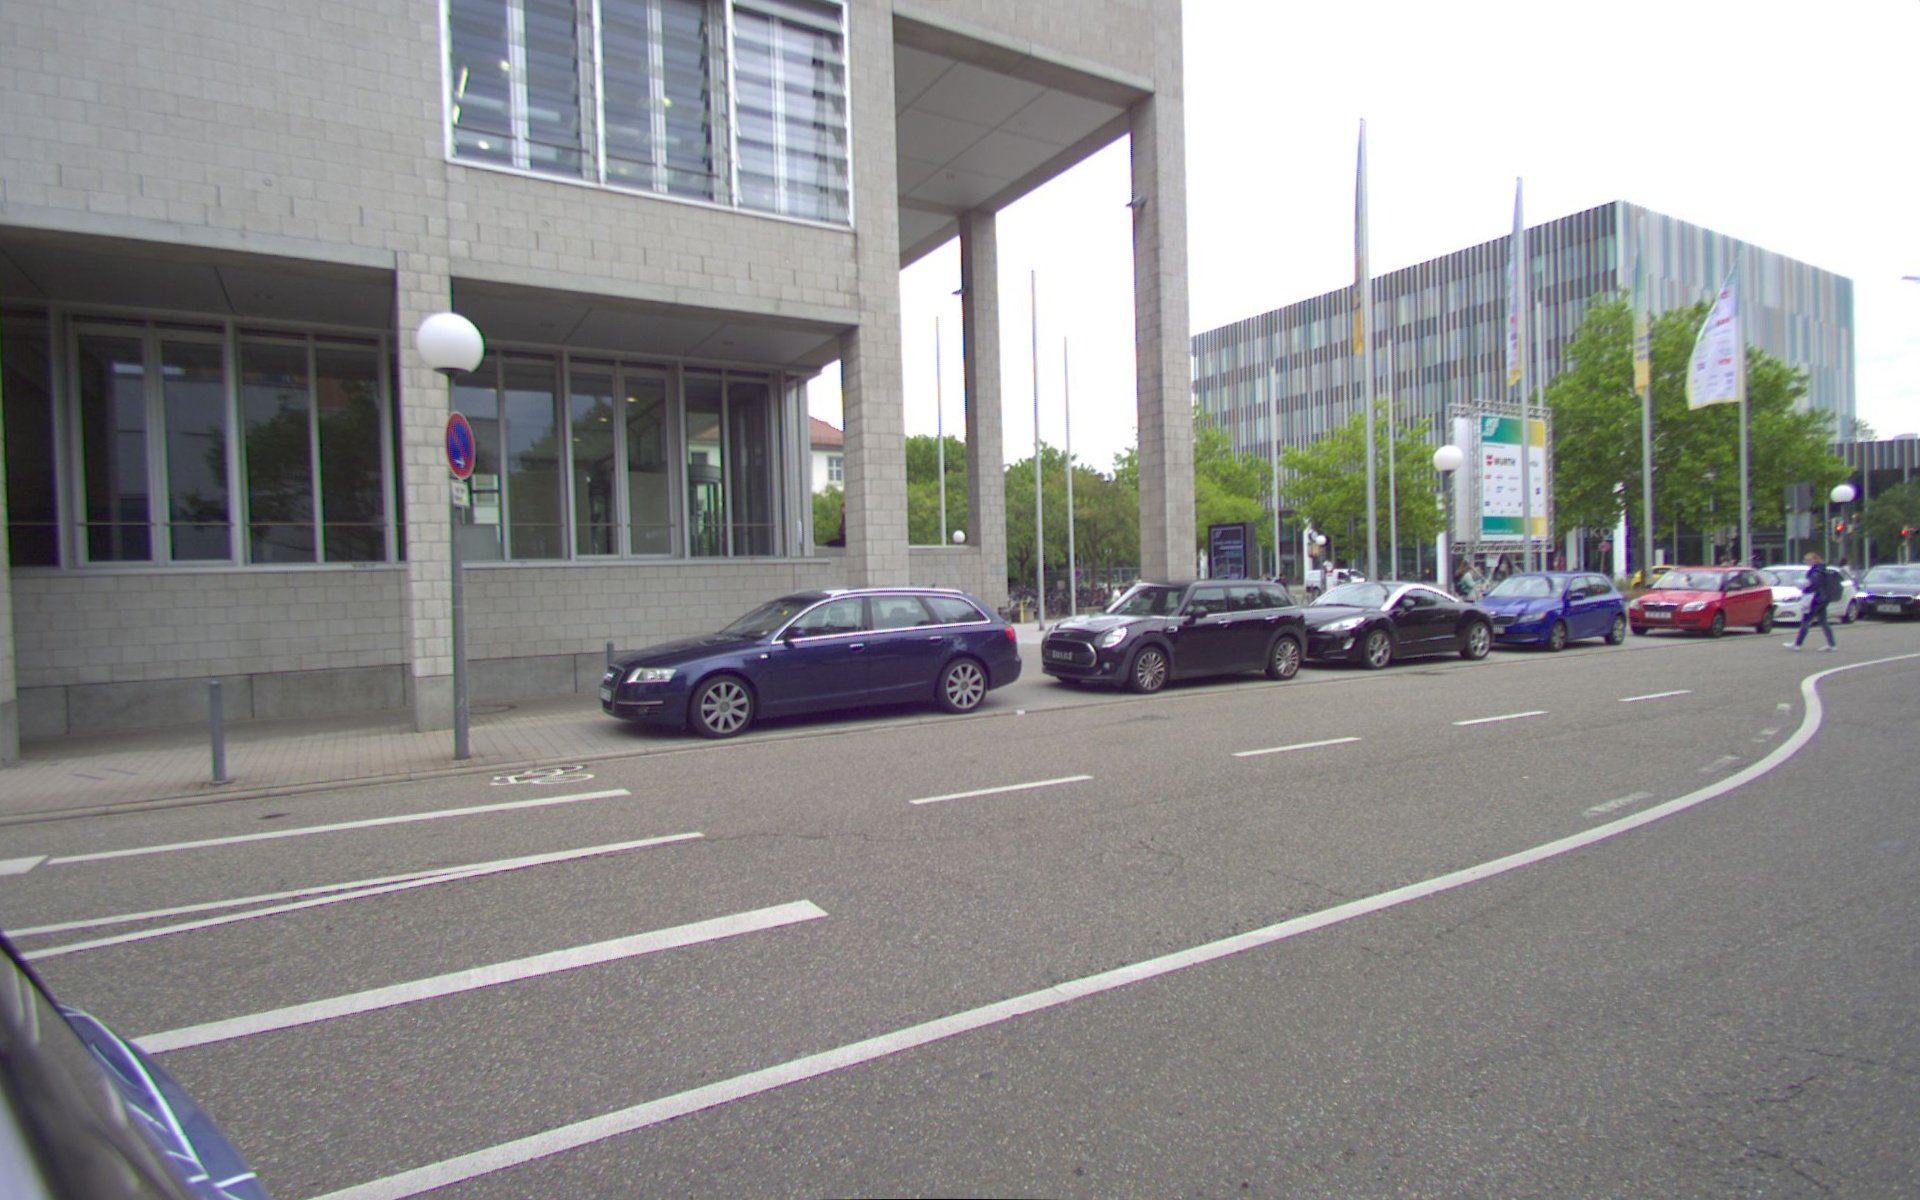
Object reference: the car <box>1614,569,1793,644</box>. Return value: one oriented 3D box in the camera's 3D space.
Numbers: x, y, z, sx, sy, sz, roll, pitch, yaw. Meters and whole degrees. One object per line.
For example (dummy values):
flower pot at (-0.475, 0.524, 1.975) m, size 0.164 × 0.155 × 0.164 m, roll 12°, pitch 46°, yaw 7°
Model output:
car at (16.476, 0.081, 22.372) m, size 4.201 × 1.484 × 1.723 m, roll -1°, pitch 2°, yaw -31°

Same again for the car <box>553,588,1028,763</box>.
car at (-1.812, 0.692, 11.389) m, size 4.839 × 1.463 × 2.006 m, roll -2°, pitch 0°, yaw -31°

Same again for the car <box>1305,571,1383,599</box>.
car at (26.811, -1.036, 70.843) m, size 1.966 × 1.675 × 4.853 m, roll -2°, pitch -1°, yaw -33°

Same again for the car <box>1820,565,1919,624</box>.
car at (25.070, -0.194, 27.331) m, size 1.858 × 1.412 × 4.437 m, roll -1°, pitch 2°, yaw 28°

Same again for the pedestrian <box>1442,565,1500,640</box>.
pedestrian at (11.635, 0.056, 23.044) m, size 0.915 × 1.653 × 0.739 m, roll -2°, pitch 0°, yaw -28°

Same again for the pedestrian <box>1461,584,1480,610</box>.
pedestrian at (40.751, -0.252, 80.799) m, size 0.840 × 2.029 × 1.004 m, roll 0°, pitch -2°, yaw -23°

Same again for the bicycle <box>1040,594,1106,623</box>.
bicycle at (5.057, 0.373, 45.132) m, size 3.055 × 1.179 × 0.750 m, roll -2°, pitch 0°, yaw -30°

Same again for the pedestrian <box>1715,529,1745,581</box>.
pedestrian at (26.637, -1.543, 35.022) m, size 0.654 × 1.728 × 0.580 m, roll -2°, pitch -1°, yaw 26°

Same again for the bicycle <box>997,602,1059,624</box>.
bicycle at (3.803, 0.712, 56.521) m, size 3.335 × 1.179 × 1.059 m, roll 1°, pitch -2°, yaw -25°

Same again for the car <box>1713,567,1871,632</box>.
car at (20.733, -0.034, 25.209) m, size 3.793 × 1.464 × 1.872 m, roll -2°, pitch 0°, yaw -31°

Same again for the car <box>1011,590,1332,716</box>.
car at (3.074, 0.630, 14.399) m, size 4.444 × 1.454 × 1.829 m, roll -2°, pitch 1°, yaw -32°

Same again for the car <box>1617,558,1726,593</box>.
car at (37.192, -1.263, 53.003) m, size 1.966 × 1.630 × 4.207 m, roll -2°, pitch 0°, yaw -30°

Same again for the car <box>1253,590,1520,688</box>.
car at (7.167, 0.599, 16.924) m, size 4.343 × 1.453 × 1.860 m, roll 0°, pitch -1°, yaw -30°

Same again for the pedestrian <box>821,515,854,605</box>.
pedestrian at (-2.353, -0.751, 19.472) m, size 0.621 × 1.671 × 0.808 m, roll 0°, pitch -2°, yaw -6°

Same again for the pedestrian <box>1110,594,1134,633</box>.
pedestrian at (6.074, 0.511, 37.925) m, size 0.670 × 1.424 × 0.762 m, roll -2°, pitch 0°, yaw 27°

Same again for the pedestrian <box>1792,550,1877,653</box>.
pedestrian at (14.668, 0.021, 16.978) m, size 0.951 × 1.674 × 0.743 m, roll -1°, pitch 0°, yaw -26°

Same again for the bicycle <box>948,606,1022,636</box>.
bicycle at (1.016, 0.835, 40.728) m, size 3.054 × 1.179 × 0.624 m, roll 1°, pitch -3°, yaw -29°

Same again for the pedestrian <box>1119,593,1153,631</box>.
pedestrian at (6.733, 0.455, 38.689) m, size 0.954 × 1.431 × 0.853 m, roll -2°, pitch 0°, yaw -42°

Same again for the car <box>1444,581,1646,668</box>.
car at (11.436, 0.414, 19.700) m, size 4.304 × 1.422 × 1.705 m, roll -2°, pitch 1°, yaw -35°

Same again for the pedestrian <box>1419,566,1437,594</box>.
pedestrian at (34.902, -1.500, 75.485) m, size 0.985 × 2.029 × 0.856 m, roll 2°, pitch -3°, yaw -42°

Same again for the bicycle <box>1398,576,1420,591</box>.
bicycle at (40.277, -1.468, 90.782) m, size 2.068 × 1.268 × 0.630 m, roll 1°, pitch -3°, yaw -26°
